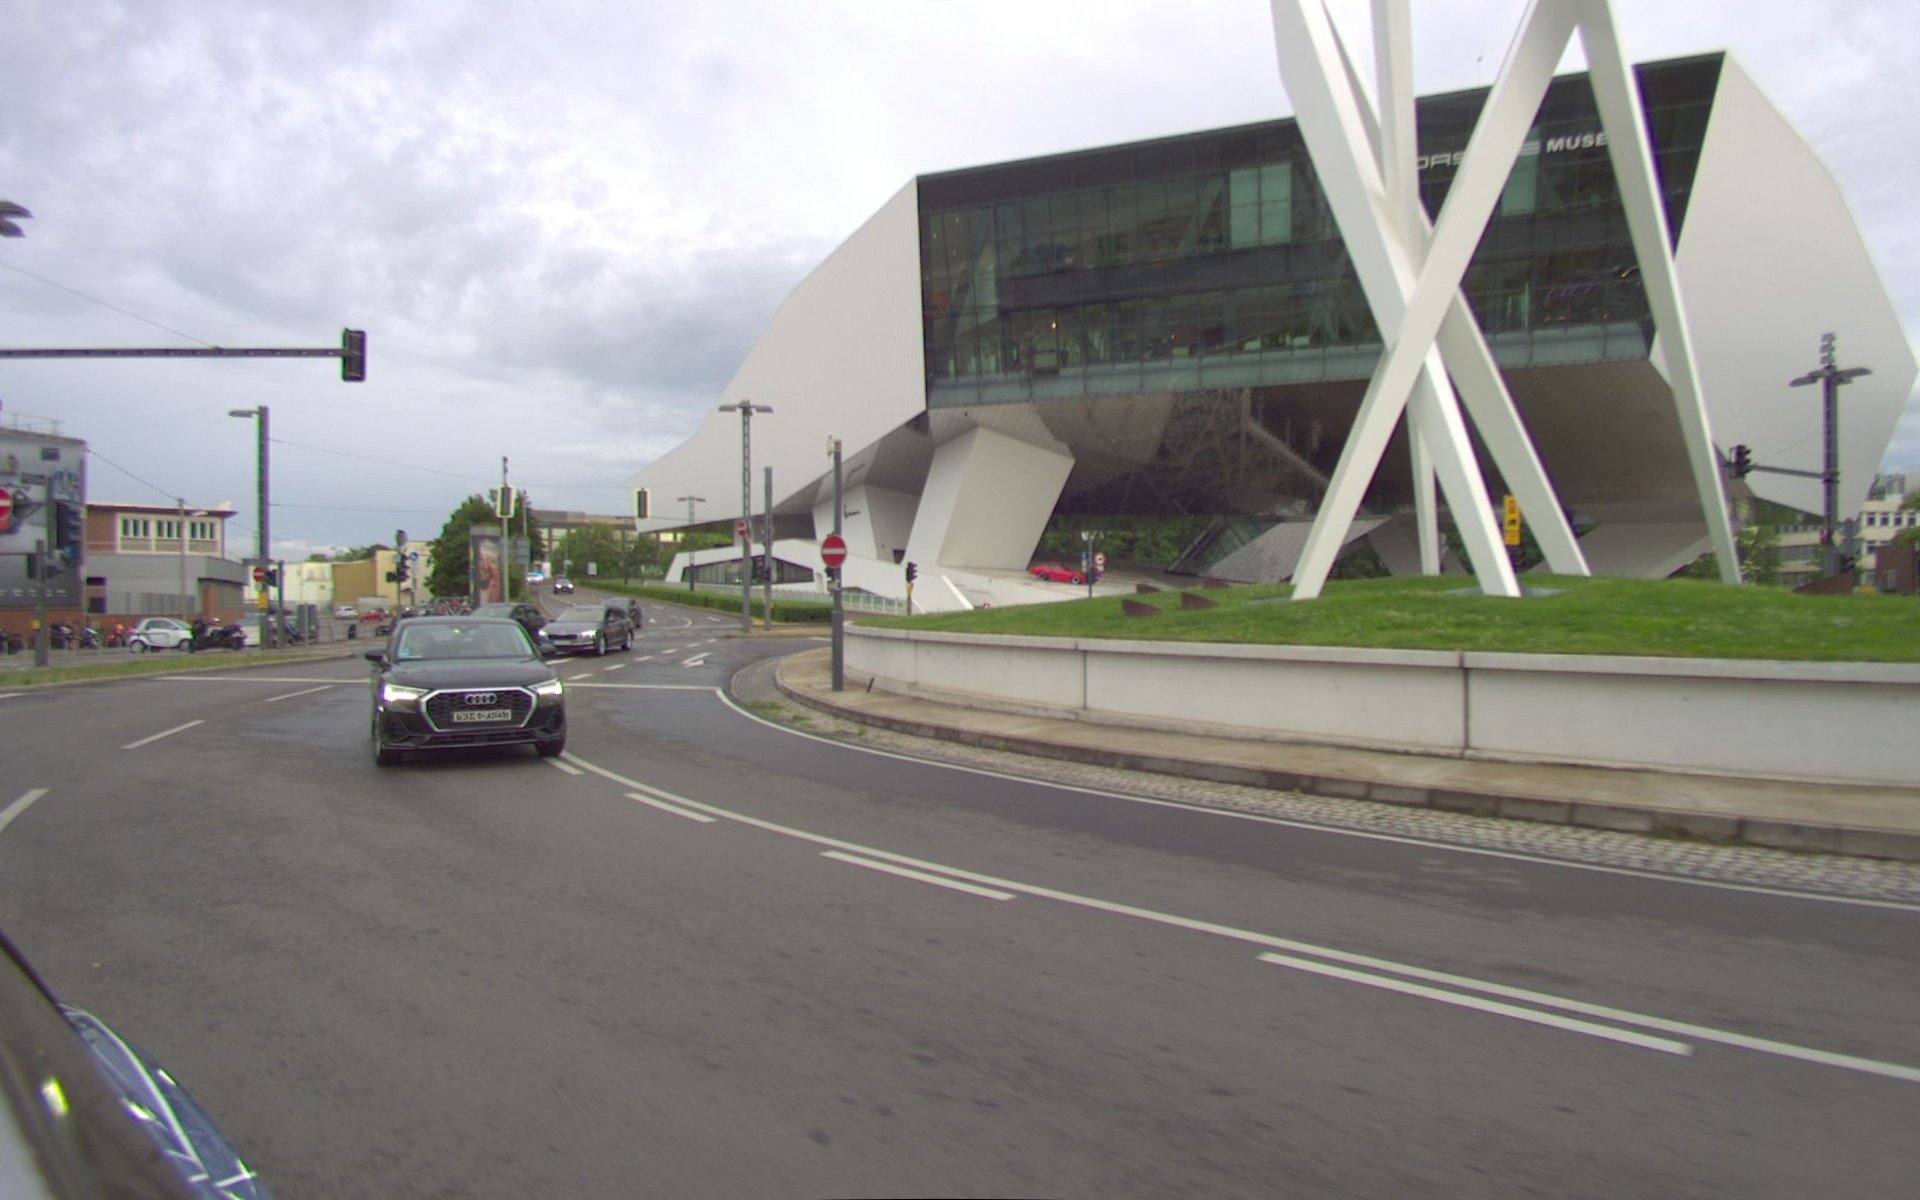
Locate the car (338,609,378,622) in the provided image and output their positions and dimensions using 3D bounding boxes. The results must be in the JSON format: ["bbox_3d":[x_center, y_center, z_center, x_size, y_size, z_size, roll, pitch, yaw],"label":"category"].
[{"bbox_3d":[-72.638,1.884,122.159,3.936,1.436,1.724,-2,1,-39],"label":"car"}]

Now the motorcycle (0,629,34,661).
[{"bbox_3d":[-36.871,1.758,38.924,0.539,1.119,1.859,-1,2,11],"label":"motorcycle"}]

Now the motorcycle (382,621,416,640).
[{"bbox_3d":[-31.177,1.689,56.257,1.590,0.928,0.422,-3,3,-37],"label":"motorcycle"}]

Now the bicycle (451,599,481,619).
[{"bbox_3d":[-27.201,0.488,55.710,0.442,1.082,1.445,3,2,34],"label":"bicycle"}]

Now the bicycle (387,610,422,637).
[{"bbox_3d":[-23.991,1.008,43.718,0.343,1.092,1.740,0,2,8],"label":"bicycle"}]

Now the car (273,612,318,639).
[{"bbox_3d":[-45.759,1.708,69.761,1.753,1.679,4.520,-1,1,-22],"label":"car"}]

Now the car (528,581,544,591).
[{"bbox_3d":[-65.914,-2.136,157.161,1.787,1.449,4.315,0,-1,-30],"label":"car"}]

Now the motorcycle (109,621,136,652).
[{"bbox_3d":[-40.735,1.766,49.239,0.515,1.343,1.675,-2,3,-24],"label":"motorcycle"}]

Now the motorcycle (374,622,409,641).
[{"bbox_3d":[-30.183,1.675,53.746,1.589,0.928,0.483,-3,3,-32],"label":"motorcycle"}]

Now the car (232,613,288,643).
[{"bbox_3d":[-39.566,1.557,57.284,1.857,1.562,4.523,-1,1,-25],"label":"car"}]

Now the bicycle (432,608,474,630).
[{"bbox_3d":[-23.998,0.892,47.874,1.716,0.969,0.423,-1,2,-16],"label":"bicycle"}]

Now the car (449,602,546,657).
[{"bbox_3d":[-15.023,0.908,33.100,1.669,1.518,4.017,-1,2,-6],"label":"car"}]

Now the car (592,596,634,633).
[{"bbox_3d":[-15.952,0.618,46.614,1.720,1.485,4.082,-2,2,-18],"label":"car"}]

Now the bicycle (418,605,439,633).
[{"bbox_3d":[-24.356,0.848,46.379,0.394,1.184,2.021,-1,2,-16],"label":"bicycle"}]

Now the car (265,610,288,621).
[{"bbox_3d":[-97.324,2.232,144.093,3.998,1.436,1.697,-1,1,41],"label":"car"}]

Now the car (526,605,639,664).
[{"bbox_3d":[-11.279,0.981,30.561,1.793,1.449,4.302,-1,2,0],"label":"car"}]

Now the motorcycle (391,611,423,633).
[{"bbox_3d":[-25.177,1.008,46.117,0.540,0.902,1.745,0,2,-2],"label":"motorcycle"}]

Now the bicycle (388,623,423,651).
[{"bbox_3d":[-24.315,1.630,44.419,0.343,1.092,1.740,0,2,8],"label":"bicycle"}]

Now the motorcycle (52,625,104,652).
[{"bbox_3d":[-40.544,1.771,46.530,1.693,1.160,0.586,-2,2,-9],"label":"motorcycle"}]

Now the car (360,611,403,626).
[{"bbox_3d":[-63.967,2.043,111.889,3.936,1.436,1.724,-2,1,-39],"label":"car"}]

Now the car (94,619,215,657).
[{"bbox_3d":[-36.150,1.679,45.536,3.932,1.500,1.572,-1,0,-16],"label":"car"}]

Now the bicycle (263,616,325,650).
[{"bbox_3d":[-25.127,1.231,38.211,0.418,1.138,2.059,0,3,21],"label":"bicycle"}]

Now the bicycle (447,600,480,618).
[{"bbox_3d":[-27.694,0.487,56.456,0.484,0.928,1.687,1,2,29],"label":"bicycle"}]

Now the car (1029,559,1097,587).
[{"bbox_3d":[7.083,-1.872,69.441,4.214,1.394,1.988,8,3,19],"label":"car"}]

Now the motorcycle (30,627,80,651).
[{"bbox_3d":[-40.416,1.745,45.186,1.591,0.980,0.542,-2,2,-9],"label":"motorcycle"}]

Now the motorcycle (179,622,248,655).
[{"bbox_3d":[-27.681,1.418,37.542,2.064,1.154,0.489,-1,2,-3],"label":"motorcycle"}]

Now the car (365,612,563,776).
[{"bbox_3d":[-5.916,0.924,11.827,1.728,1.530,4.408,1,-1,-30],"label":"car"}]

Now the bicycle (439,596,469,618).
[{"bbox_3d":[-28.486,0.395,56.978,1.518,1.163,0.452,1,2,-29],"label":"bicycle"}]

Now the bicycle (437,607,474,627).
[{"bbox_3d":[-25.101,0.842,50.321,1.590,0.929,0.422,-1,1,-13],"label":"bicycle"}]

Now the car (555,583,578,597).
[{"bbox_3d":[-44.052,-1.119,113.219,1.787,1.449,4.315,0,-1,-30],"label":"car"}]
